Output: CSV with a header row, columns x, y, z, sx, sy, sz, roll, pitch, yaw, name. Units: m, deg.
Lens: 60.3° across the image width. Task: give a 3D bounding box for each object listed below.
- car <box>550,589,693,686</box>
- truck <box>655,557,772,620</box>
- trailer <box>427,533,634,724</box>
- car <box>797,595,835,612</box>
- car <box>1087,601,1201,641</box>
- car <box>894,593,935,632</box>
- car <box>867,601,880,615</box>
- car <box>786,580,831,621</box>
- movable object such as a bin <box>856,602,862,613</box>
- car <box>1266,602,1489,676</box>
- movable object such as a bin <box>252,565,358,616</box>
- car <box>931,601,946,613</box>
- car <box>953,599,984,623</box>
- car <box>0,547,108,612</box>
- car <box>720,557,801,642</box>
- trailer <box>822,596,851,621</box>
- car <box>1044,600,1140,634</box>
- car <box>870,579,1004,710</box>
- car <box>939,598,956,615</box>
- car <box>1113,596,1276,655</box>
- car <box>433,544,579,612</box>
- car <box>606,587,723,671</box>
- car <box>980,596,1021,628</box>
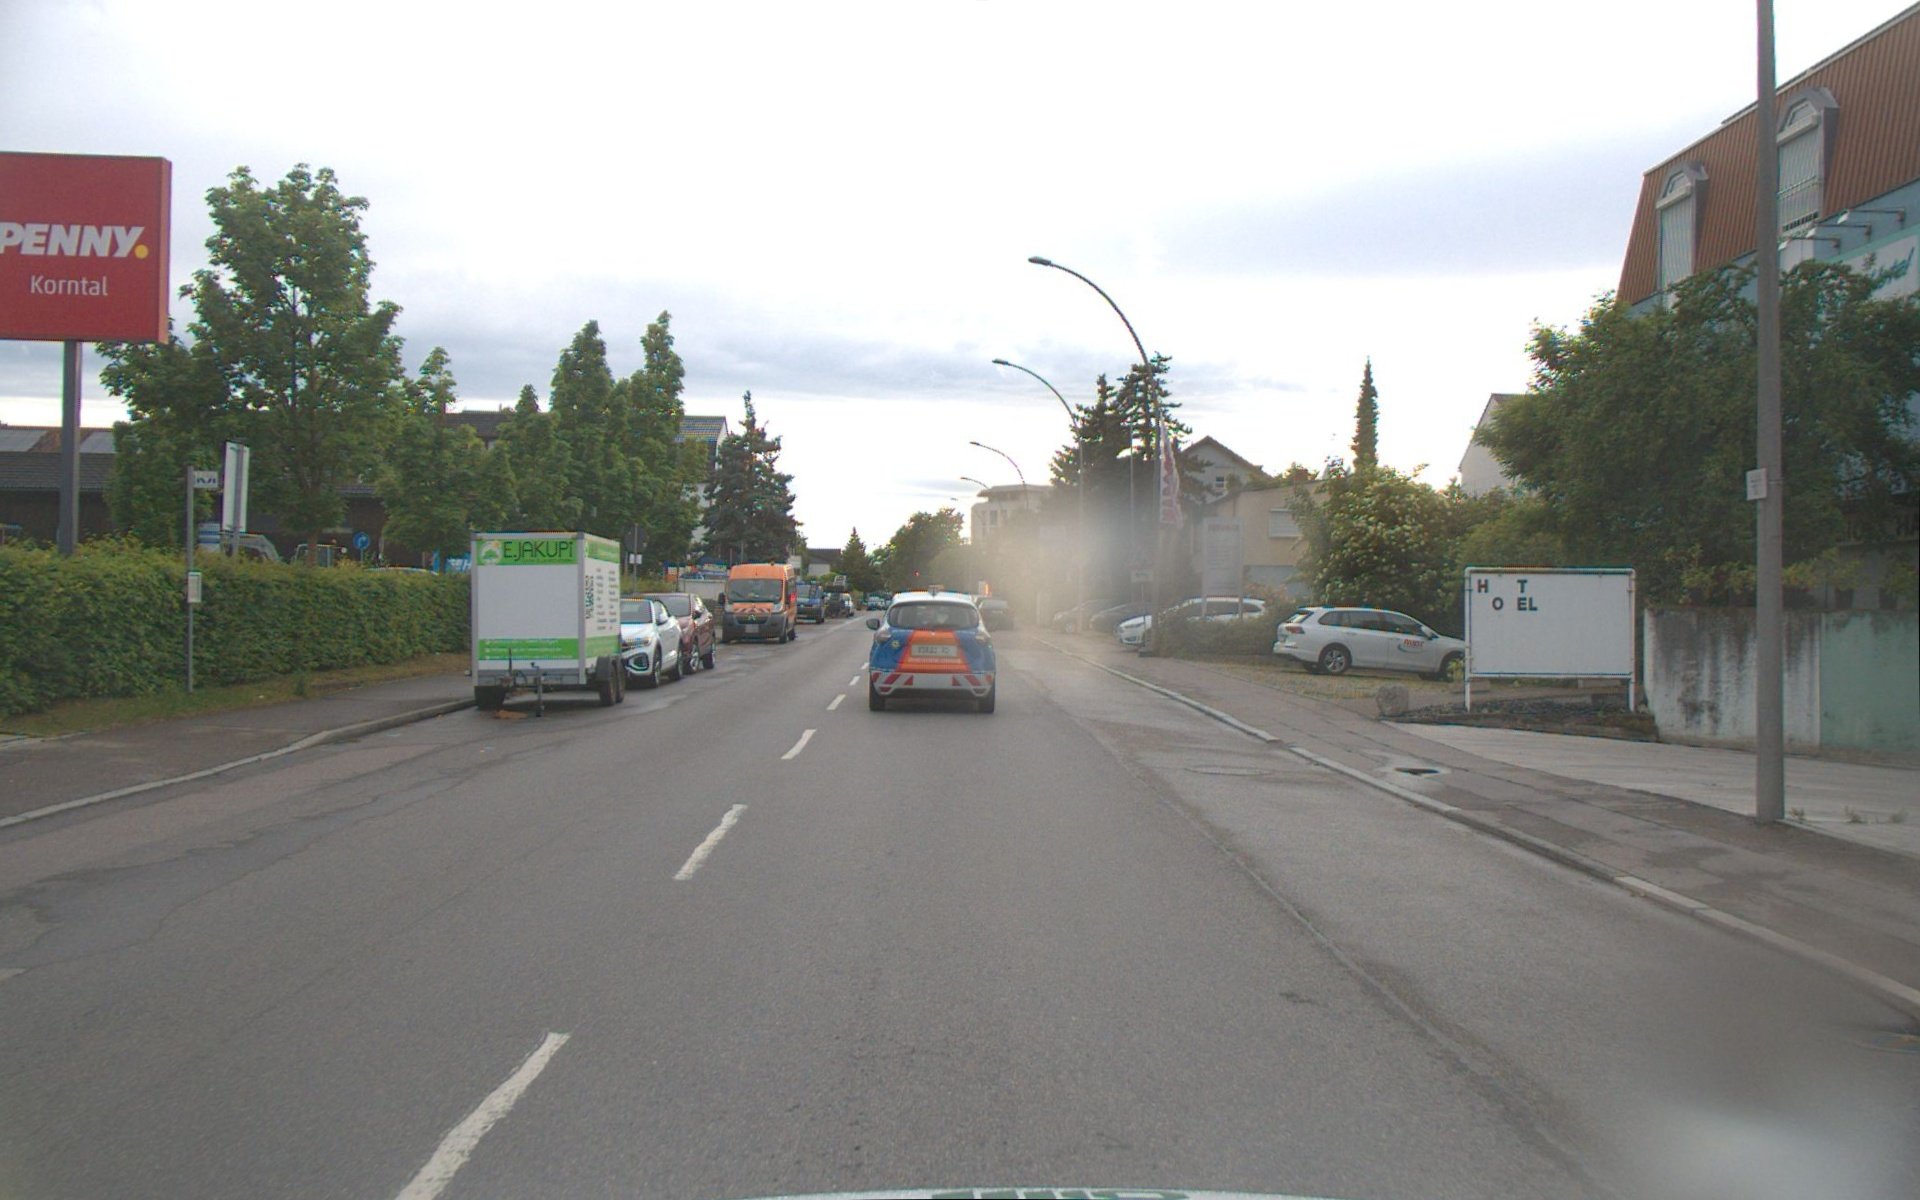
x,y,z,sx,sy,sz,roll,pitch,yaw,name
-5.800,0.594,28.788,1.737,1.525,4.135,1,1,-2,car
-13.145,-0.605,88.483,5.792,3.127,2.449,2,-1,-1,truck
-5.859,0.349,23.146,1.776,2.354,4.728,-1,0,-2,trailer
-14.277,0.357,163.875,3.687,1.604,1.653,2,-1,-6,car
6.606,0.751,59.685,3.905,1.288,1.951,2,-1,0,car
-1.959,0.541,70.332,1.617,1.548,3.997,2,-1,-3,car
-9.901,0.919,189.309,1.358,1.509,3.781,1,0,-3,car
-7.811,0.033,85.498,1.953,1.981,5.363,2,-1,-2,car
-10.615,0.799,174.289,0.568,1.225,0.318,2,-1,-2,movable object such as a bin
9.036,0.836,35.993,4.327,1.417,1.879,2,-1,-3,car
-25.258,-0.347,63.890,3.357,1.790,1.996,2,-1,-8,movable object such as a bin
-2.739,0.888,210.721,1.617,1.509,3.997,2,-1,-3,car
0.557,0.700,108.376,1.678,1.463,4.523,2,-1,-4,car
-24.419,-0.552,42.547,3.976,1.578,1.883,2,-1,-6,car
-6.456,-0.026,54.123,2.082,2.582,6.019,1,0,-2,car
-7.711,0.512,103.327,1.683,1.282,5.241,2,1,-3,trailer
5.664,0.749,71.335,3.908,1.288,1.949,2,-1,-3,car
-0.356,0.590,23.033,1.697,1.659,3.493,1,-1,-2,car
-1.321,0.729,178.824,1.617,1.701,3.997,2,-1,-3,car
6.544,0.711,46.470,4.251,1.501,1.902,2,-1,-3,car
-15.058,-0.724,55.053,4.219,2.049,2.062,2,-1,-1,car
-6.005,0.556,34.069,1.769,1.601,4.341,0,0,-2,car
1.859,0.525,76.692,1.558,1.364,4.090,3,0,-3,car
